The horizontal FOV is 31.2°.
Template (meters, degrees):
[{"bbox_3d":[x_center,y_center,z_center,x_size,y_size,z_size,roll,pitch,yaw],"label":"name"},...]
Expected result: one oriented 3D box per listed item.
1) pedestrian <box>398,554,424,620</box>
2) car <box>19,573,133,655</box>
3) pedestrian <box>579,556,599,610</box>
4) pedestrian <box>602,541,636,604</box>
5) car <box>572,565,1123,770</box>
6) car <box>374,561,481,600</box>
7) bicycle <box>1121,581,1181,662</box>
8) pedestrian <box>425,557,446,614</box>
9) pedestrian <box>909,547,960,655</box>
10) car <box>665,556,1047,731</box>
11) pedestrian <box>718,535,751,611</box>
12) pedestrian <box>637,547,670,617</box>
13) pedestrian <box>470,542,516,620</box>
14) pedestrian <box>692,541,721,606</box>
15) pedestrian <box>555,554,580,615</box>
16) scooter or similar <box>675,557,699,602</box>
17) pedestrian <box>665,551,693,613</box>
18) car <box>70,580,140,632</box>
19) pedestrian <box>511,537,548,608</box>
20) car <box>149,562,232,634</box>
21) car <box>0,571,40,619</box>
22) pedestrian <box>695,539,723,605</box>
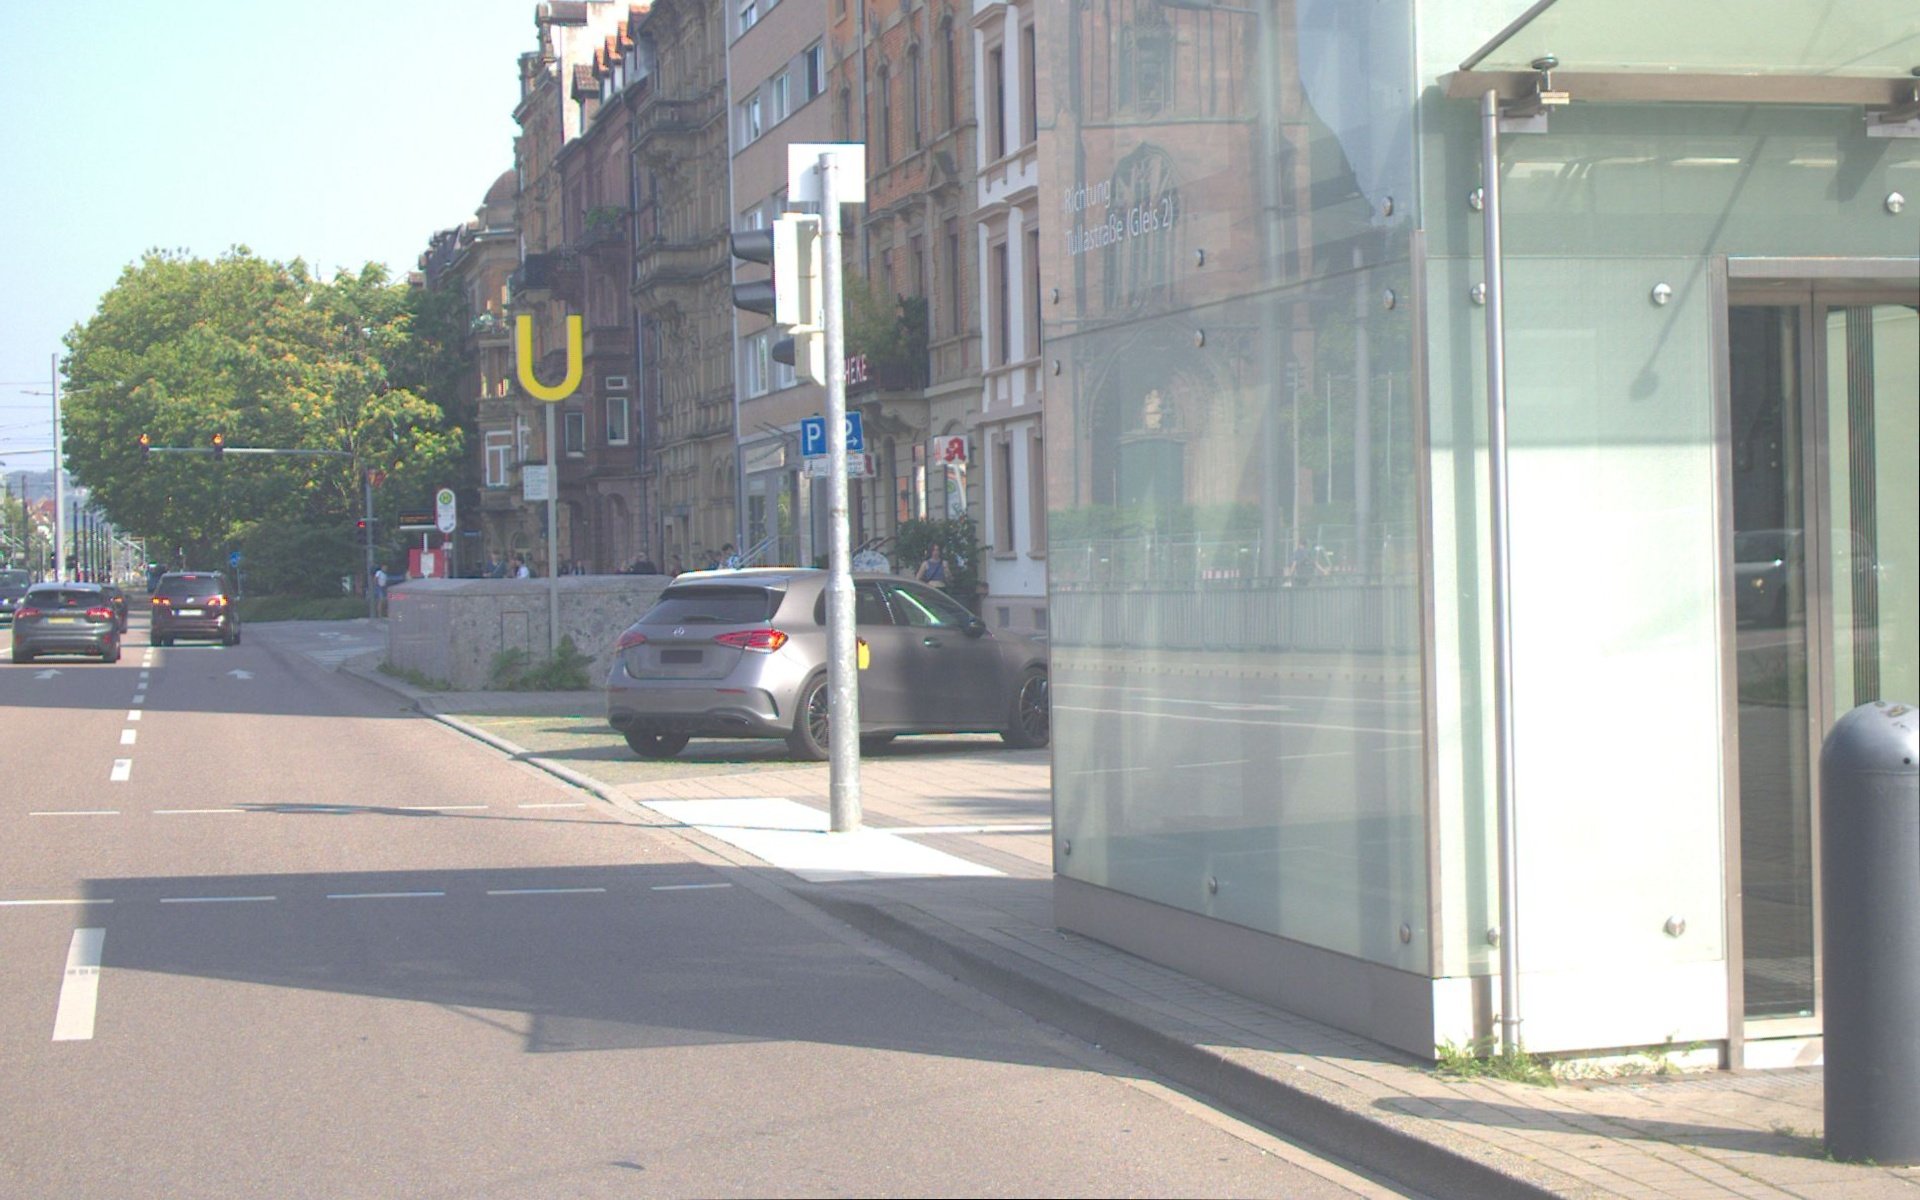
[{"bbox_3d":[-14.444,-0.339,90.443,0.564,1.723,0.745,-1,1,-16],"label":"pedestrian"},{"bbox_3d":[-15.916,0.225,62.025,1.863,1.419,4.358,0,1,-13],"label":"car"},{"bbox_3d":[-11.163,-0.524,103.354,0.486,1.605,0.813,-1,1,-12],"label":"pedestrian"},{"bbox_3d":[-8.734,-0.707,88.021,0.720,1.605,0.856,-1,1,-12],"label":"pedestrian"},{"bbox_3d":[-0.782,0.467,26.682,1.846,1.418,4.399,-1,0,38],"label":"car"},{"bbox_3d":[-22.462,-0.827,144.953,4.179,1.558,2.001,-2,1,-17],"label":"car"},{"bbox_3d":[2.755,0.297,49.689,0.383,1.130,1.720,-1,1,-12],"label":"bicycle"},{"bbox_3d":[-15.909,-0.449,104.280,0.481,1.696,0.703,-1,1,-16],"label":"pedestrian"},{"bbox_3d":[-0.393,0.012,52.900,0.608,1.623,0.737,-1,1,-12],"label":"pedestrian"},{"bbox_3d":[-0.881,0.362,30.955,1.621,1.459,3.521,-1,0,35],"label":"car"},{"bbox_3d":[-5.467,-0.652,83.413,0.603,1.825,0.742,-1,1,-16],"label":"pedestrian"},{"bbox_3d":[-7.842,-0.467,87.998,0.720,1.781,0.856,-1,1,-12],"label":"pedestrian"},{"bbox_3d":[-11.072,-0.456,81.555,0.925,1.825,0.801,-1,1,-16],"label":"pedestrian"},{"bbox_3d":[-6.655,-0.709,90.326,0.603,1.686,0.587,-1,1,-16],"label":"pedestrian"},{"bbox_3d":[-11.800,-0.463,103.312,0.616,1.798,1.072,-1,1,-12],"label":"pedestrian"},{"bbox_3d":[-6.994,-0.528,88.121,0.360,1.159,1.153,-1,1,-15],"label":"scooter or similar"},{"bbox_3d":[-7.582,-0.488,92.764,0.603,1.649,0.587,-1,1,-16],"label":"pedestrian"},{"bbox_3d":[-24.563,0.150,98.875,1.863,1.419,4.358,0,1,-13],"label":"car"},{"bbox_3d":[-10.625,-0.679,84.842,0.749,1.723,0.801,-1,1,-16],"label":"pedestrian"},{"bbox_3d":[-17.848,-0.060,79.706,1.831,1.615,4.358,0,1,-13],"label":"car"},{"bbox_3d":[-31.480,-0.170,114.039,1.740,1.521,3.874,-2,1,-14],"label":"car"},{"bbox_3d":[-6.531,-0.730,89.538,0.603,1.725,0.511,-1,1,-16],"label":"pedestrian"}]
